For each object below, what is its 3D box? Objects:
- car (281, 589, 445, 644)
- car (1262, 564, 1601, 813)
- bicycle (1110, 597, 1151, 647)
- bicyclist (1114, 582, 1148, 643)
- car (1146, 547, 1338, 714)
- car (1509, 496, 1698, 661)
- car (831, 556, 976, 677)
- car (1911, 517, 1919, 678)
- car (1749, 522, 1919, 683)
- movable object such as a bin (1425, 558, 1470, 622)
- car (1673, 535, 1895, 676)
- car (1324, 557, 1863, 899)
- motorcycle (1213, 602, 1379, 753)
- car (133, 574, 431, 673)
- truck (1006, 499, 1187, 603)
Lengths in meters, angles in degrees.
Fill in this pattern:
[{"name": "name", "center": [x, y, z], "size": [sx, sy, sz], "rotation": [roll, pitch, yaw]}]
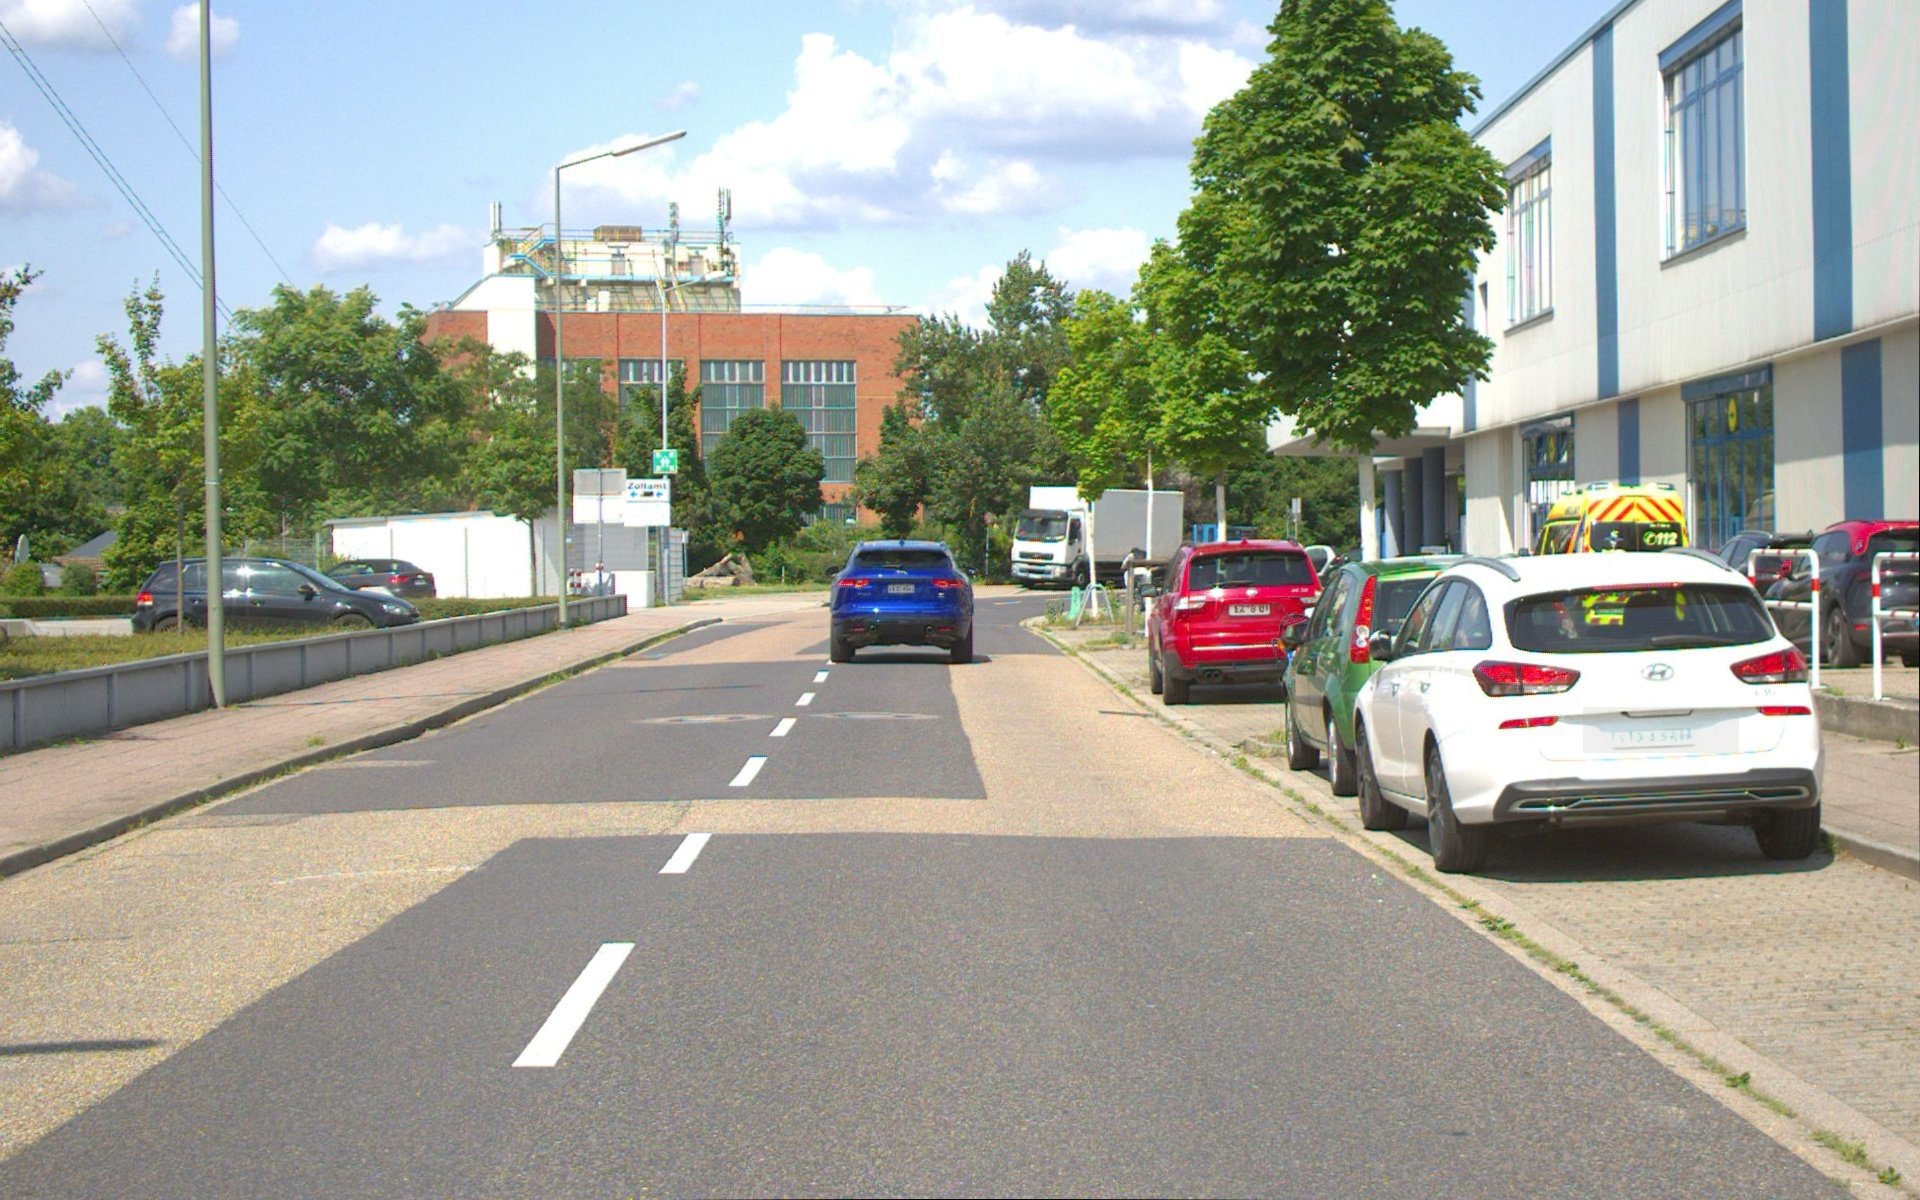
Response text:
[{"name": "car", "center": [-15.360, 0.413, 88.385], "size": [3.994, 1.373, 1.800], "rotation": [0, 1, 34]}, {"name": "car", "center": [3.046, 0.530, 22.916], "size": [1.668, 1.515, 3.995], "rotation": [0, 0, -1]}, {"name": "bicycle", "center": [3.946, 0.495, 79.419], "size": [0.667, 1.105, 2.167], "rotation": [-1, 1, 11]}, {"name": "bicyclist", "center": [3.950, 0.281, 79.457], "size": [0.663, 1.393, 0.858], "rotation": [-1, 1, 11]}, {"name": "car", "center": [2.911, 0.285, 36.298], "size": [1.755, 1.645, 4.677], "rotation": [0, 0, 1]}, {"name": "car", "center": [9.983, -0.330, 53.743], "size": [1.924, 2.455, 5.260], "rotation": [0, 0, 0]}, {"name": "car", "center": [-0.792, 0.204, 47.735], "size": [1.909, 1.588, 4.701], "rotation": [0, 0, -1]}, {"name": "car", "center": [9.927, -0.103, 30.145], "size": [1.827, 1.507, 4.640], "rotation": [-1, -2, 0]}, {"name": "car", "center": [10.109, 0.042, 37.458], "size": [1.993, 1.651, 4.290], "rotation": [-1, -1, 0]}, {"name": "movable object such as a bin", "center": [10.959, -0.223, 77.315], "size": [0.804, 1.409, 1.358], "rotation": [0, 0, -1]}, {"name": "car", "center": [10.191, 0.075, 42.800], "size": [1.714, 1.646, 4.215], "rotation": [-1, 0, 0]}, {"name": "car", "center": [3.046, 0.555, 17.478], "size": [1.835, 1.515, 4.461], "rotation": [0, 0, -1]}, {"name": "motorcycle", "center": [2.889, 0.633, 29.340], "size": [0.856, 1.196, 2.361], "rotation": [0, 1, 20]}, {"name": "car", "center": [-9.855, 0.332, 50.193], "size": [3.987, 1.371, 1.804], "rotation": [-1, 1, 0]}, {"name": "truck", "center": [4.947, -1.807, 122.455], "size": [2.325, 3.555, 9.351], "rotation": [2, 2, 30]}]
